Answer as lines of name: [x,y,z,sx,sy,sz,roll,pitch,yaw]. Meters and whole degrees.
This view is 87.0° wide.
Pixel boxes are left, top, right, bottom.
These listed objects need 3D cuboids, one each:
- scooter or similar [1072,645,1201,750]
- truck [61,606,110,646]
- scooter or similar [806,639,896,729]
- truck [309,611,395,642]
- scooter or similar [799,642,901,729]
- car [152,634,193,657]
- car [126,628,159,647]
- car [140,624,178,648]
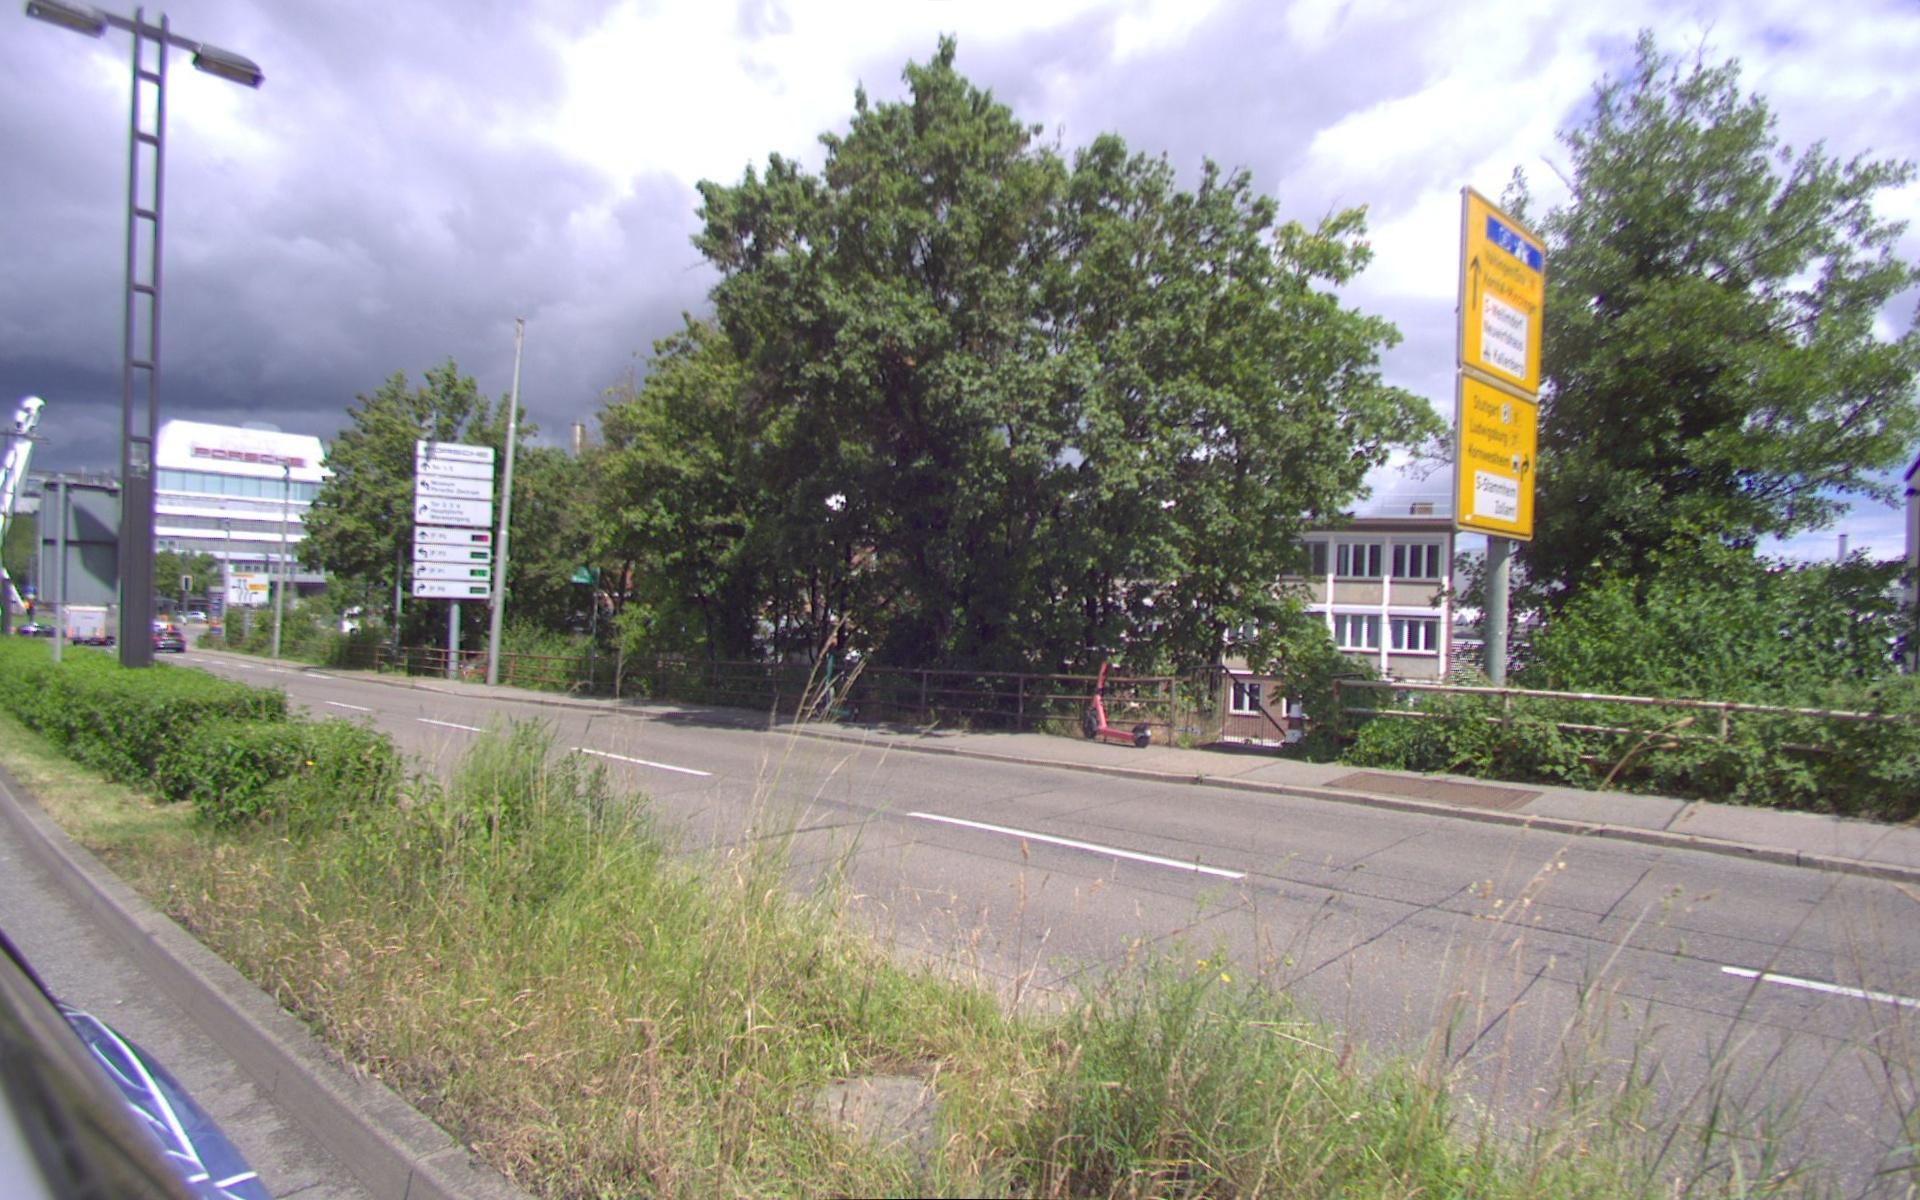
scooter or similar: [2.220,1.199,12.853,0.485,1.225,1.644,2,-3,-44]
truck: [-70.954,2.175,82.052,2.820,2.879,9.388,2,-4,-41]
scooter or similar: [-1.747,1.296,16.012,0.485,1.314,1.644,0,-1,-44]
truck: [-73.833,3.194,122.984,8.854,3.595,2.364,-1,-1,-3]
scooter or similar: [-1.787,1.327,16.123,0.486,1.236,2.100,-1,0,-41]
car: [-52.758,3.023,67.776,1.817,1.519,4.566,2,-3,-42]
car: [-65.318,2.961,80.894,1.772,1.433,4.503,3,-3,-36]
car: [-69.097,3.058,87.390,1.966,1.973,4.641,1,-1,-31]
